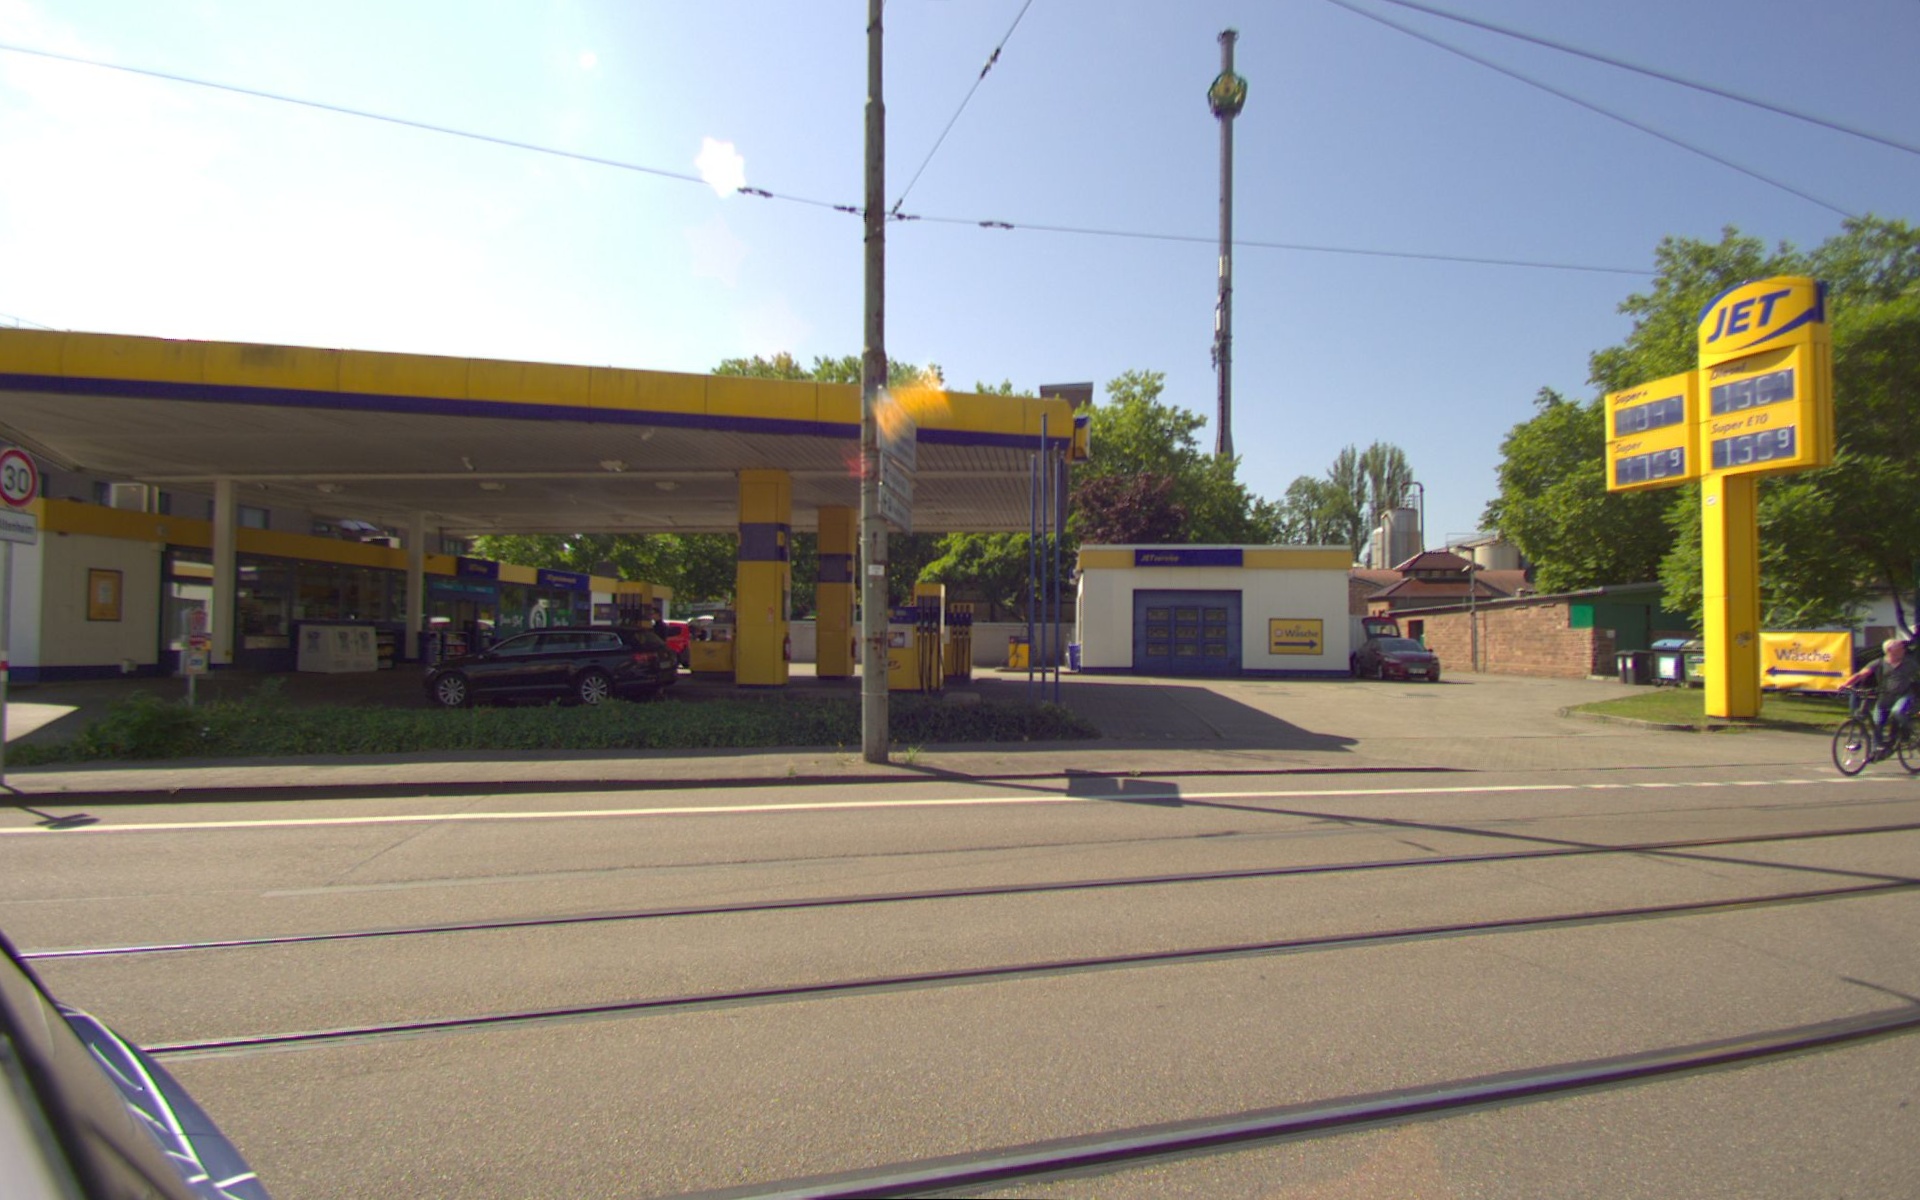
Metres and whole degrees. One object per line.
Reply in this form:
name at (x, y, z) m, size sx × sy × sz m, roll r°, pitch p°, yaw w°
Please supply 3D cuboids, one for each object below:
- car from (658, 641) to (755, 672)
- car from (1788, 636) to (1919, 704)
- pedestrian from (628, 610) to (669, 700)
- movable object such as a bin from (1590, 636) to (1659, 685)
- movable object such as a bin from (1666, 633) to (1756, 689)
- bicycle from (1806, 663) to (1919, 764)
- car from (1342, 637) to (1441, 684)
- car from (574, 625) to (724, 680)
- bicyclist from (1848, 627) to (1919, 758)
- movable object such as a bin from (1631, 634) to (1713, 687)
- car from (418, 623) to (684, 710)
car at (-11.888, 2.644, 47.560) m, size 4.079 × 1.370 × 1.759 m, roll 0°, pitch -2°, yaw 4°
car at (24.101, 1.745, 25.487) m, size 4.633 × 1.653 × 2.003 m, roll -1°, pitch -3°, yaw 26°
pedestrian at (-6.164, 1.090, 20.074) m, size 0.732 × 1.739 × 0.861 m, roll 1°, pitch -3°, yaw -16°
movable object such as a bin at (21.001, 1.928, 32.022) m, size 1.316 × 1.514 × 1.325 m, roll -1°, pitch -4°, yaw 10°
movable object such as a bin at (20.966, 1.703, 28.282) m, size 1.356 × 1.514 × 1.426 m, roll 1°, pitch -3°, yaw -15°
bicycle at (11.853, 1.406, 12.819) m, size 2.087 × 1.206 × 0.613 m, roll 1°, pitch -3°, yaw -15°
car at (14.699, 2.045, 34.738) m, size 1.870 × 1.471 × 4.546 m, roll -2°, pitch -3°, yaw 7°
car at (-11.967, 2.016, 39.152) m, size 5.236 × 1.997 × 1.760 m, roll 0°, pitch -2°, yaw 2°
bicyclist at (12.114, 1.157, 12.796) m, size 0.948 × 1.608 × 0.909 m, roll 1°, pitch -3°, yaw -16°
movable object such as a bin at (21.083, 1.784, 30.020) m, size 1.359 × 1.514 × 1.423 m, roll 0°, pitch -3°, yaw -3°
car at (-7.657, 1.229, 19.143) m, size 4.354 × 1.466 × 1.759 m, roll -1°, pitch 0°, yaw 6°
